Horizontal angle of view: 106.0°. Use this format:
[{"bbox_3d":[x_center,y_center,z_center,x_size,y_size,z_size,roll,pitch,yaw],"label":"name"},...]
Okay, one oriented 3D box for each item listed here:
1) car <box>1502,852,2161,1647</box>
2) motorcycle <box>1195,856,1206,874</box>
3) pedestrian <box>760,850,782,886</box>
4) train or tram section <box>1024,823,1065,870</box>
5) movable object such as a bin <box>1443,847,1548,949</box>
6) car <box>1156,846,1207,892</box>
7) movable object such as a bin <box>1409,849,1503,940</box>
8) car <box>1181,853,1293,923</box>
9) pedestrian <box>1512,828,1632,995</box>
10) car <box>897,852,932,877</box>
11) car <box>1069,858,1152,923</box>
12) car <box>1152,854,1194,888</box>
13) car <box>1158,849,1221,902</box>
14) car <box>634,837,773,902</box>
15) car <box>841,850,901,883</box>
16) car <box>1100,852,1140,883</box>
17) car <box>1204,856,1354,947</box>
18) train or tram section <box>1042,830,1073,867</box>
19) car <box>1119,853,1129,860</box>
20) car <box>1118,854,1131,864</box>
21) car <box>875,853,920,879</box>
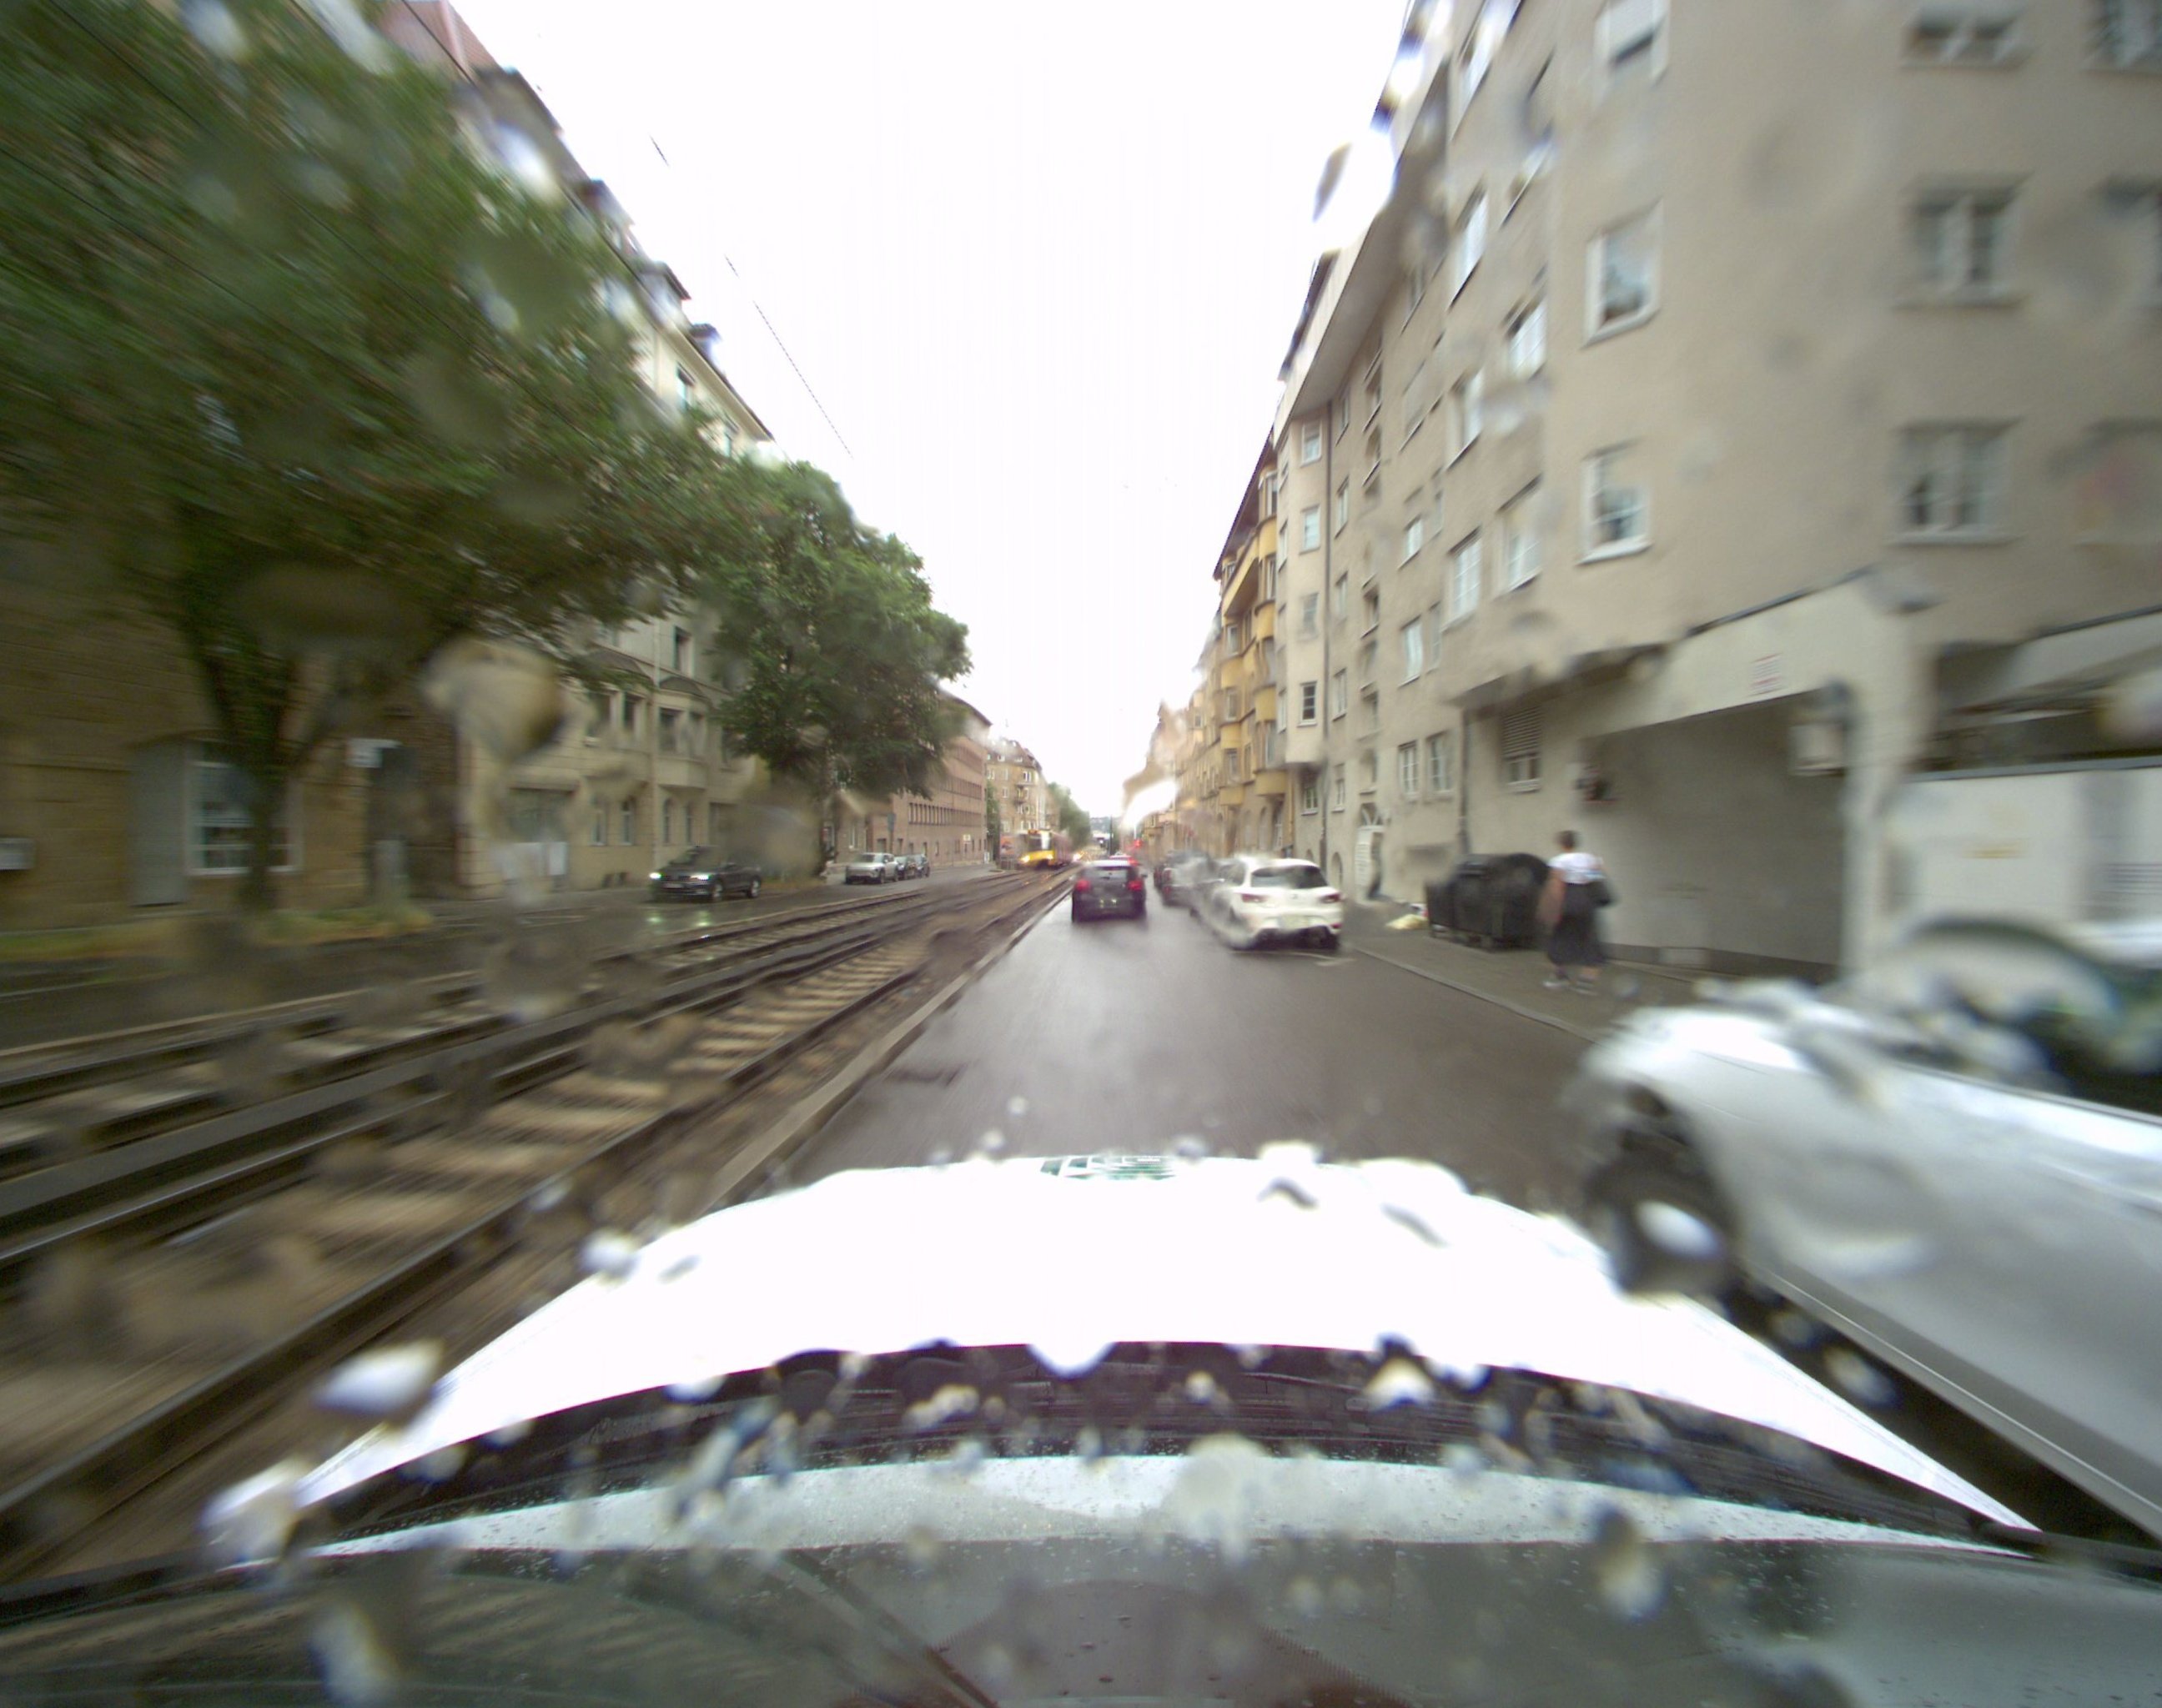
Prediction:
[{"bbox_3d":[2.852,0.728,1.647,1.705,1.468,4.776,0,-1,2],"label":"car"},{"bbox_3d":[8.219,0.720,56.116,0.554,1.160,2.271,-4,0,4],"label":"motorcycle"},{"bbox_3d":[-14.448,0.656,37.955,0.725,1.663,0.771,0,0,1],"label":"pedestrian"},{"bbox_3d":[-3.340,-0.661,79.068,2.735,4.061,17.219,0,0,2],"label":"train or tram section"},{"bbox_3d":[6.271,0.642,12.401,0.976,1.468,1.273,0,-1,2],"label":"movable object such as a bin"},{"bbox_3d":[4.043,0.605,33.356,1.771,1.750,4.552,0,-1,3],"label":"car"},{"bbox_3d":[6.354,0.661,13.896,1.014,1.468,1.323,0,-1,2],"label":"movable object such as a bin"},{"bbox_3d":[3.559,0.748,19.374,1.826,1.468,4.374,0,-1,0],"label":"car"},{"bbox_3d":[5.166,0.586,8.614,0.801,1.687,0.754,0,-1,1],"label":"pedestrian"},{"bbox_3d":[-10.491,0.633,51.489,1.566,1.466,3.045,1,0,1],"label":"car"},{"bbox_3d":[0.737,0.819,19.968,1.827,1.453,3.904,0,0,2],"label":"car"},{"bbox_3d":[4.238,0.781,37.971,1.586,1.440,3.309,1,-1,0],"label":"car"},{"bbox_3d":[3.540,0.690,27.305,1.833,1.608,4.766,0,-1,4],"label":"car"},{"bbox_3d":[-11.572,0.432,25.406,1.946,1.742,4.779,3,0,1],"label":"car"},{"bbox_3d":[-10.920,0.614,42.670,1.954,1.605,4.330,1,0,1],"label":"car"},{"bbox_3d":[2.025,0.692,42.868,1.986,1.525,4.248,1,0,2],"label":"car"},{"bbox_3d":[3.376,0.763,14.704,1.782,1.385,4.397,0,-1,2],"label":"car"},{"bbox_3d":[-2.626,-0.605,95.427,2.735,4.061,15.666,0,0,2],"label":"train or tram section"},{"bbox_3d":[9.231,0.521,176.949,2.126,1.525,4.248,1,0,2],"label":"car"},{"bbox_3d":[6.801,0.753,126.390,1.879,1.525,4.250,1,0,4],"label":"car"},{"bbox_3d":[-10.686,0.675,47.727,1.660,1.415,3.689,1,0,2],"label":"car"}]
